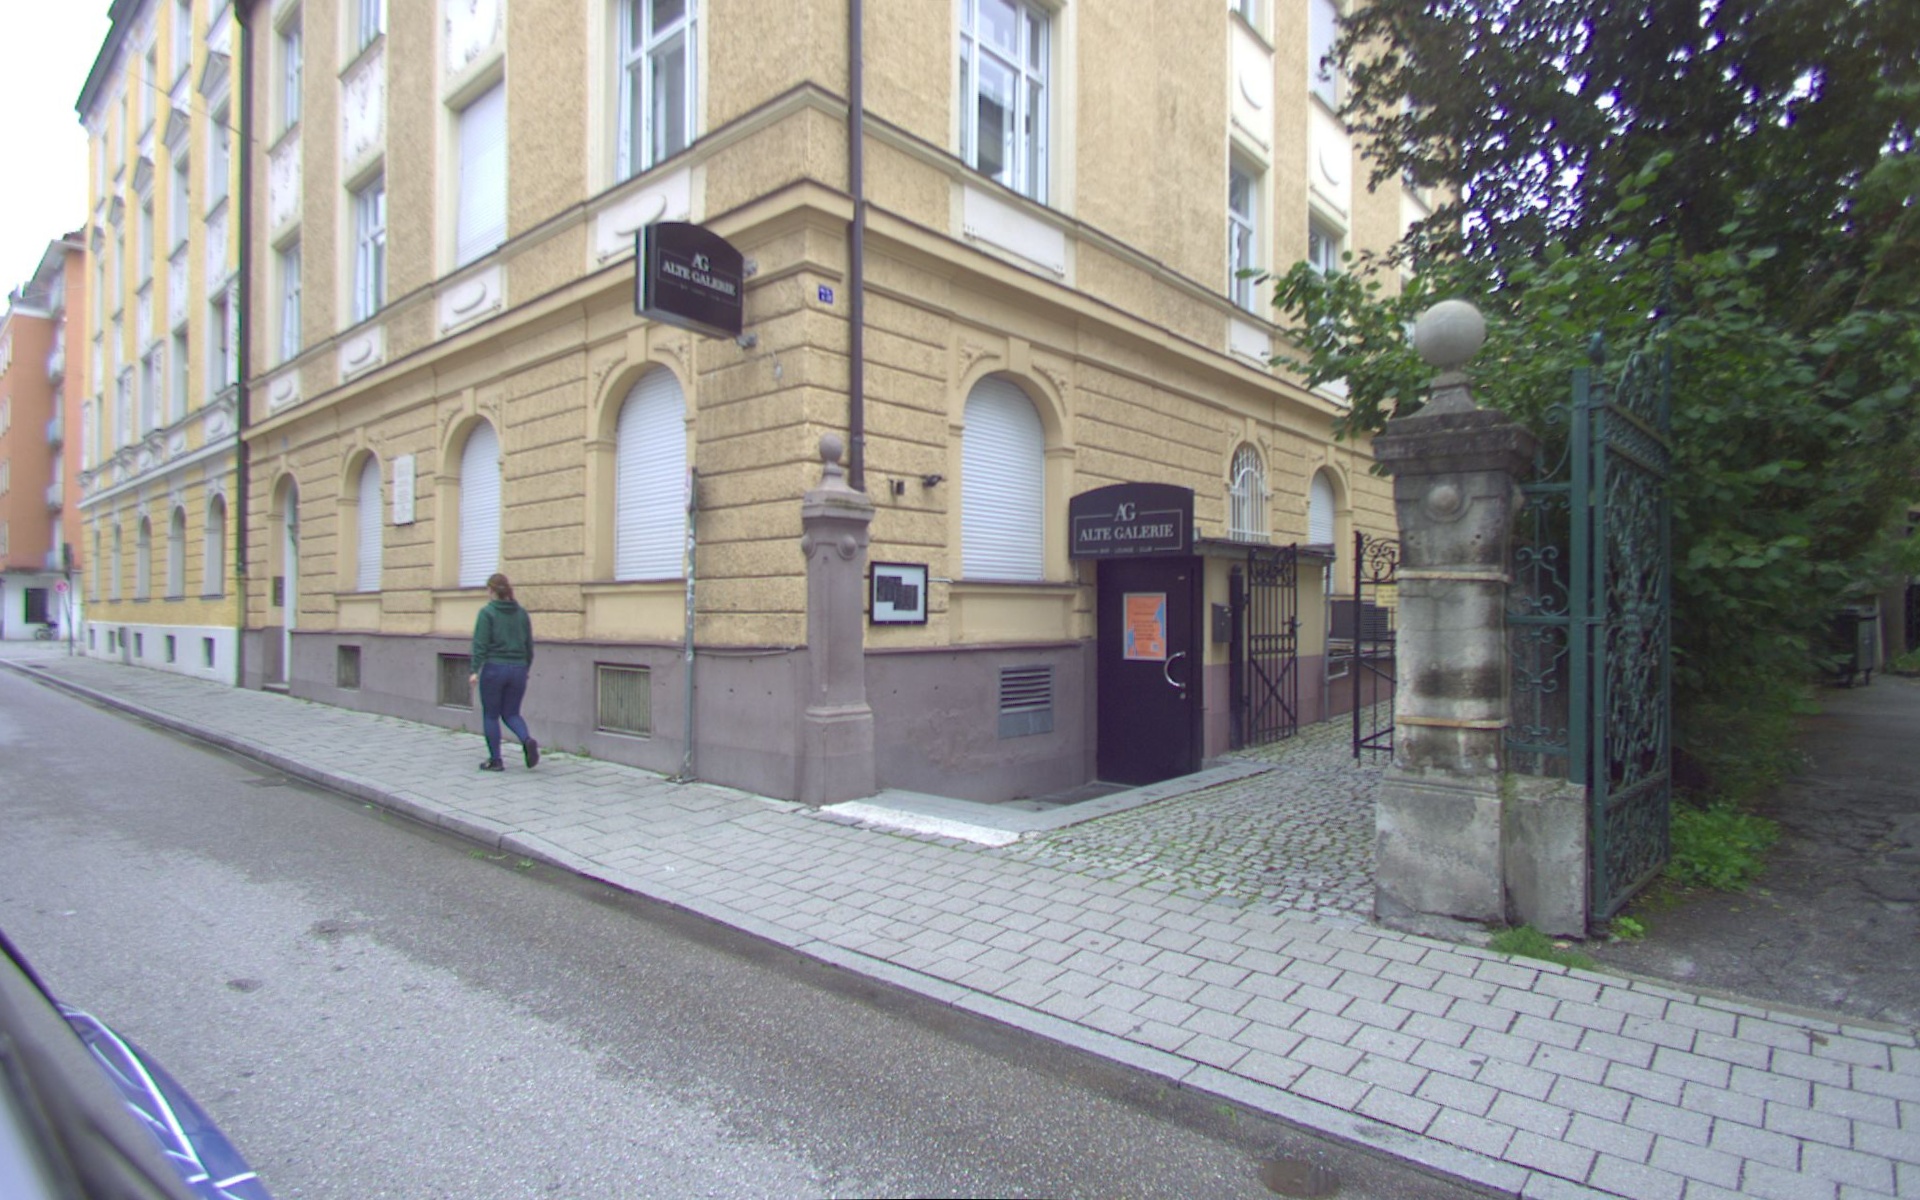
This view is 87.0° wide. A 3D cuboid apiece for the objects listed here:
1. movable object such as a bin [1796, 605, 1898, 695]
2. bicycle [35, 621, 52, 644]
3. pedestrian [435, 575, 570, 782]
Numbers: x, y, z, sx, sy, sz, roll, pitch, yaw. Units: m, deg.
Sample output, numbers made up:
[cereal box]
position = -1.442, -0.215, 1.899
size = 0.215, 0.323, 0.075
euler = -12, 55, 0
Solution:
[movable object such as a bin]
position = 14.716, 0.802, 16.790
size = 1.208, 1.414, 1.109
euler = 1, -2, -41
[bicycle]
position = -39.013, 1.387, 43.082
size = 1.539, 0.944, 0.386
euler = -1, -2, 42
[pedestrian]
position = -3.984, 0.639, 8.817
size = 0.929, 1.678, 0.705
euler = -1, 1, 41
